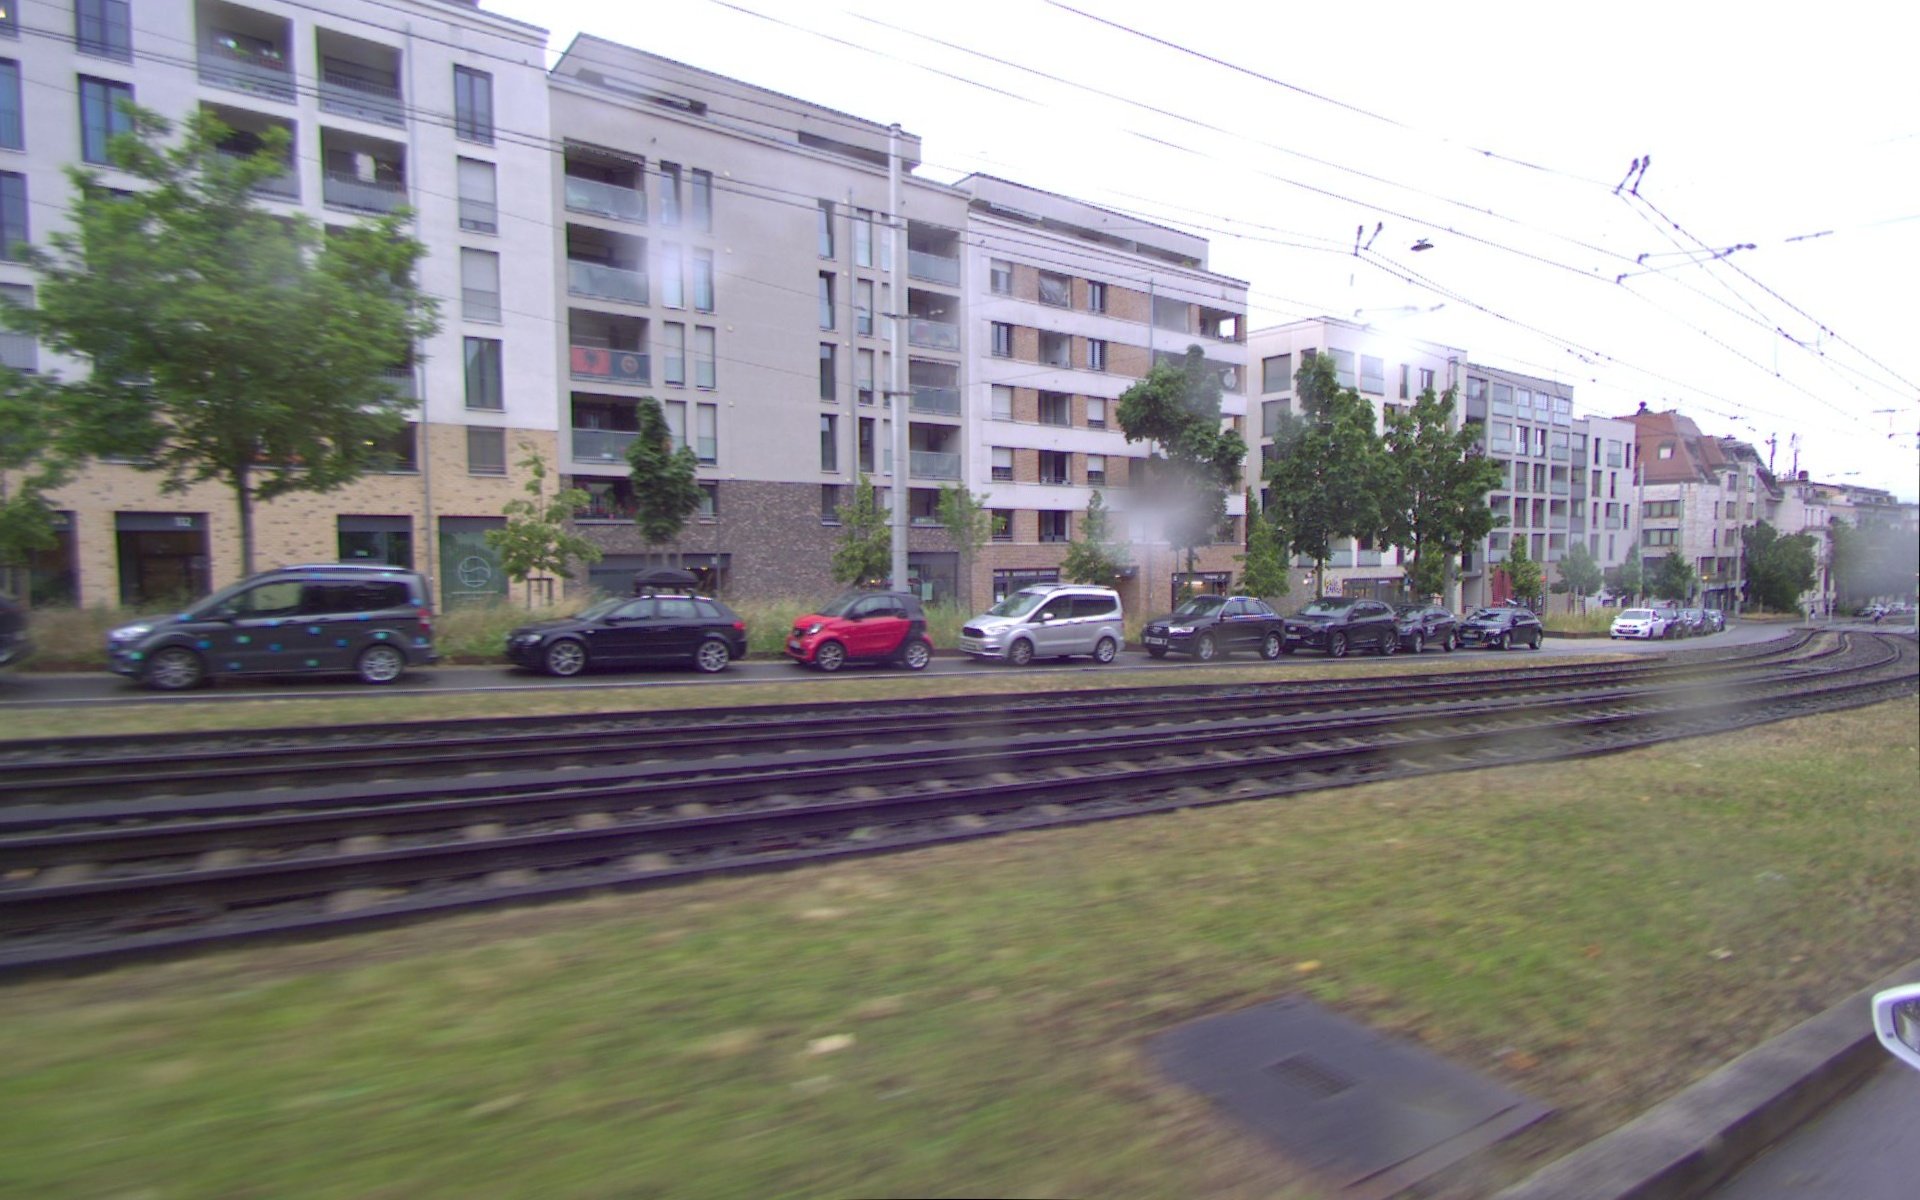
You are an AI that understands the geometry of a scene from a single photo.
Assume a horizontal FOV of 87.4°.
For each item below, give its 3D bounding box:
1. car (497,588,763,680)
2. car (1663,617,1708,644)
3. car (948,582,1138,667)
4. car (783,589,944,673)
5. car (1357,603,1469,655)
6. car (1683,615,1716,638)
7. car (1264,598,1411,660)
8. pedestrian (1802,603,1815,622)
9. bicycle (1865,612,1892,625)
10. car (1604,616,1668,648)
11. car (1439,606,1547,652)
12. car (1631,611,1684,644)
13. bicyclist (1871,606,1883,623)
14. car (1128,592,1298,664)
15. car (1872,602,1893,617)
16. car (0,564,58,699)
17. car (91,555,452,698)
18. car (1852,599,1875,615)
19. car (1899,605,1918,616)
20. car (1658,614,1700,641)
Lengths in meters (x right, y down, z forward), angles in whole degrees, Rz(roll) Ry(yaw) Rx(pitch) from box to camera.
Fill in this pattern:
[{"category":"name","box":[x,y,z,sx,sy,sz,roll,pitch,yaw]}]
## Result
[{"category":"car","box":[-5.930,0.587,18.225,4.350,1.467,1.542,1,2,-32]},{"category":"car","box":[43.550,1.803,60.232,1.700,1.533,4.295,1,0,42]},{"category":"car","box":[1.952,0.550,23.030,4.214,1.771,1.652,1,1,-35]},{"category":"car","box":[-1.941,0.601,20.228,2.894,1.551,1.463,1,1,-28]},{"category":"car","box":[14.750,0.904,32.607,4.225,1.509,1.721,1,2,-42]},{"category":"car","box":[52.812,1.884,71.711,1.750,1.524,4.067,1,0,38]},{"category":"car","box":[11.057,0.827,29.291,4.655,1.605,1.789,1,1,-37]},{"category":"pedestrian","box":[88.123,1.305,104.308,0.893,1.958,0.822,2,1,38]},{"category":"bicycle","box":[87.088,1.732,95.268,1.767,1.078,0.457,3,2,21]},{"category":"car","box":[33.384,1.558,49.586,3.705,1.499,1.750,1,0,-41]},{"category":"car","box":[19.091,1.021,35.926,4.164,1.450,1.949,1,2,-40]},{"category":"car","box":[36.556,1.412,52.598,1.746,1.582,4.381,1,0,42]},{"category":"bicyclist","box":[87.007,1.356,95.287,0.688,1.595,0.462,2,1,21]},{"category":"car","box":[6.598,0.709,26.005,4.486,1.666,1.720,1,2,-35]},{"category":"car","box":[132.603,1.403,144.361,3.972,2.041,1.974,1,1,-44]},{"category":"car","box":[-14.471,0.350,12.760,4.167,1.626,1.983,1,4,-32]},{"category":"car","box":[-10.158,0.363,15.196,4.285,1.884,1.572,1,3,-32]},{"category":"car","box":[122.770,0.954,136.438,3.972,2.041,1.974,1,1,-44]},{"category":"car","box":[150.982,1.706,159.871,3.972,1.684,1.974,1,1,-44]},{"category":"car","box":[40.355,1.514,56.342,1.532,1.454,3.432,1,0,42]}]
